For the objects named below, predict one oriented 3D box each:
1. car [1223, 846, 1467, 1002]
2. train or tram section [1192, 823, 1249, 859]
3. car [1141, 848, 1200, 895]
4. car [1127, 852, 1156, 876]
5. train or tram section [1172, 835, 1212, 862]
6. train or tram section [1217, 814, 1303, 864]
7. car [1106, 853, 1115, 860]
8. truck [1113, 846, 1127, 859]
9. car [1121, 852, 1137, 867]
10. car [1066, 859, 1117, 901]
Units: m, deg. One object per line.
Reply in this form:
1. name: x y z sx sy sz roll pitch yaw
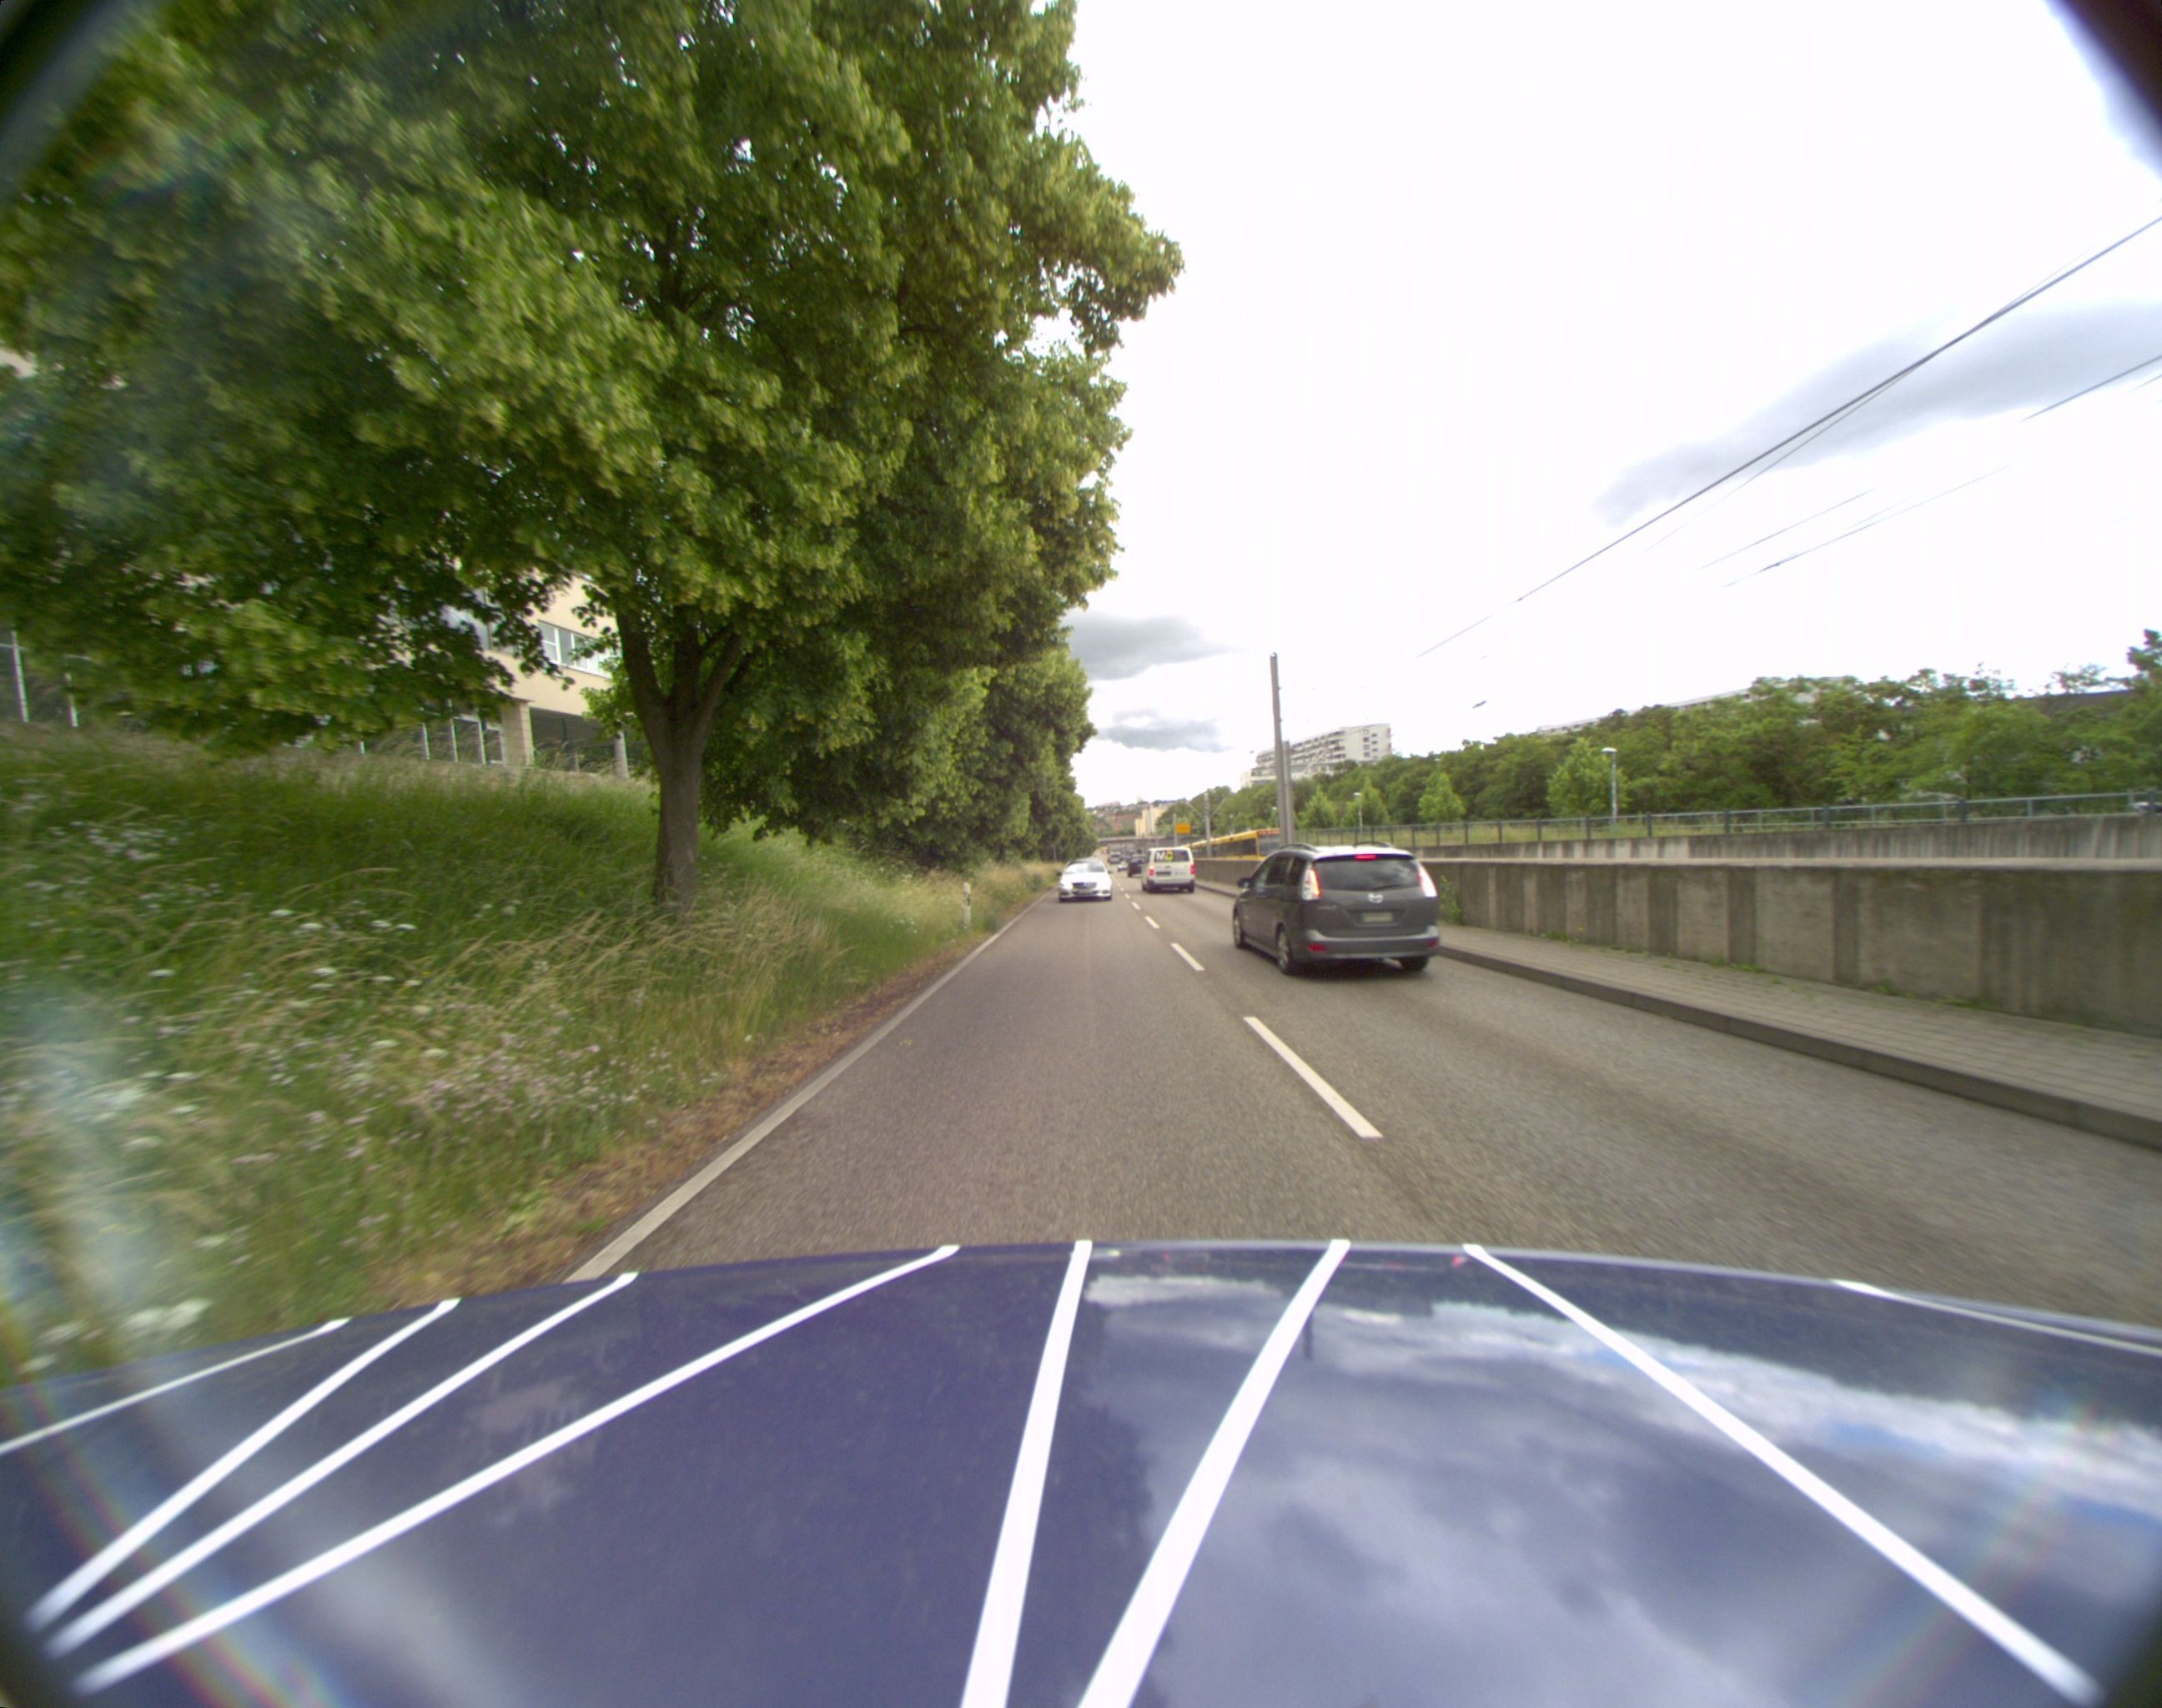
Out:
1. car: 3.309 0.767 10.513 1.827 1.647 4.245 -2 0 0
2. train or tram section: 14.077 -1.321 78.614 2.788 3.175 18.473 -2 1 1
3. car: 3.730 0.664 32.342 1.901 1.823 4.905 -1 1 0
4. car: 4.502 0.717 57.046 1.781 1.677 4.065 -2 0 1
5. train or tram section: 14.350 -0.746 100.180 2.741 3.196 19.915 -1 0 1
6. train or tram section: 13.635 -1.106 60.096 2.787 3.175 18.473 -2 1 1
7. car: 7.509 0.683 194.112 1.998 1.630 4.000 -2 0 1
8. truck: 7.657 -0.265 149.801 2.456 2.412 8.211 -2 1 1
9. car: 4.988 0.535 79.108 1.598 1.531 2.697 -1 0 2
10. car: 0.329 0.953 29.121 1.739 1.366 3.999 -2 1 -1
